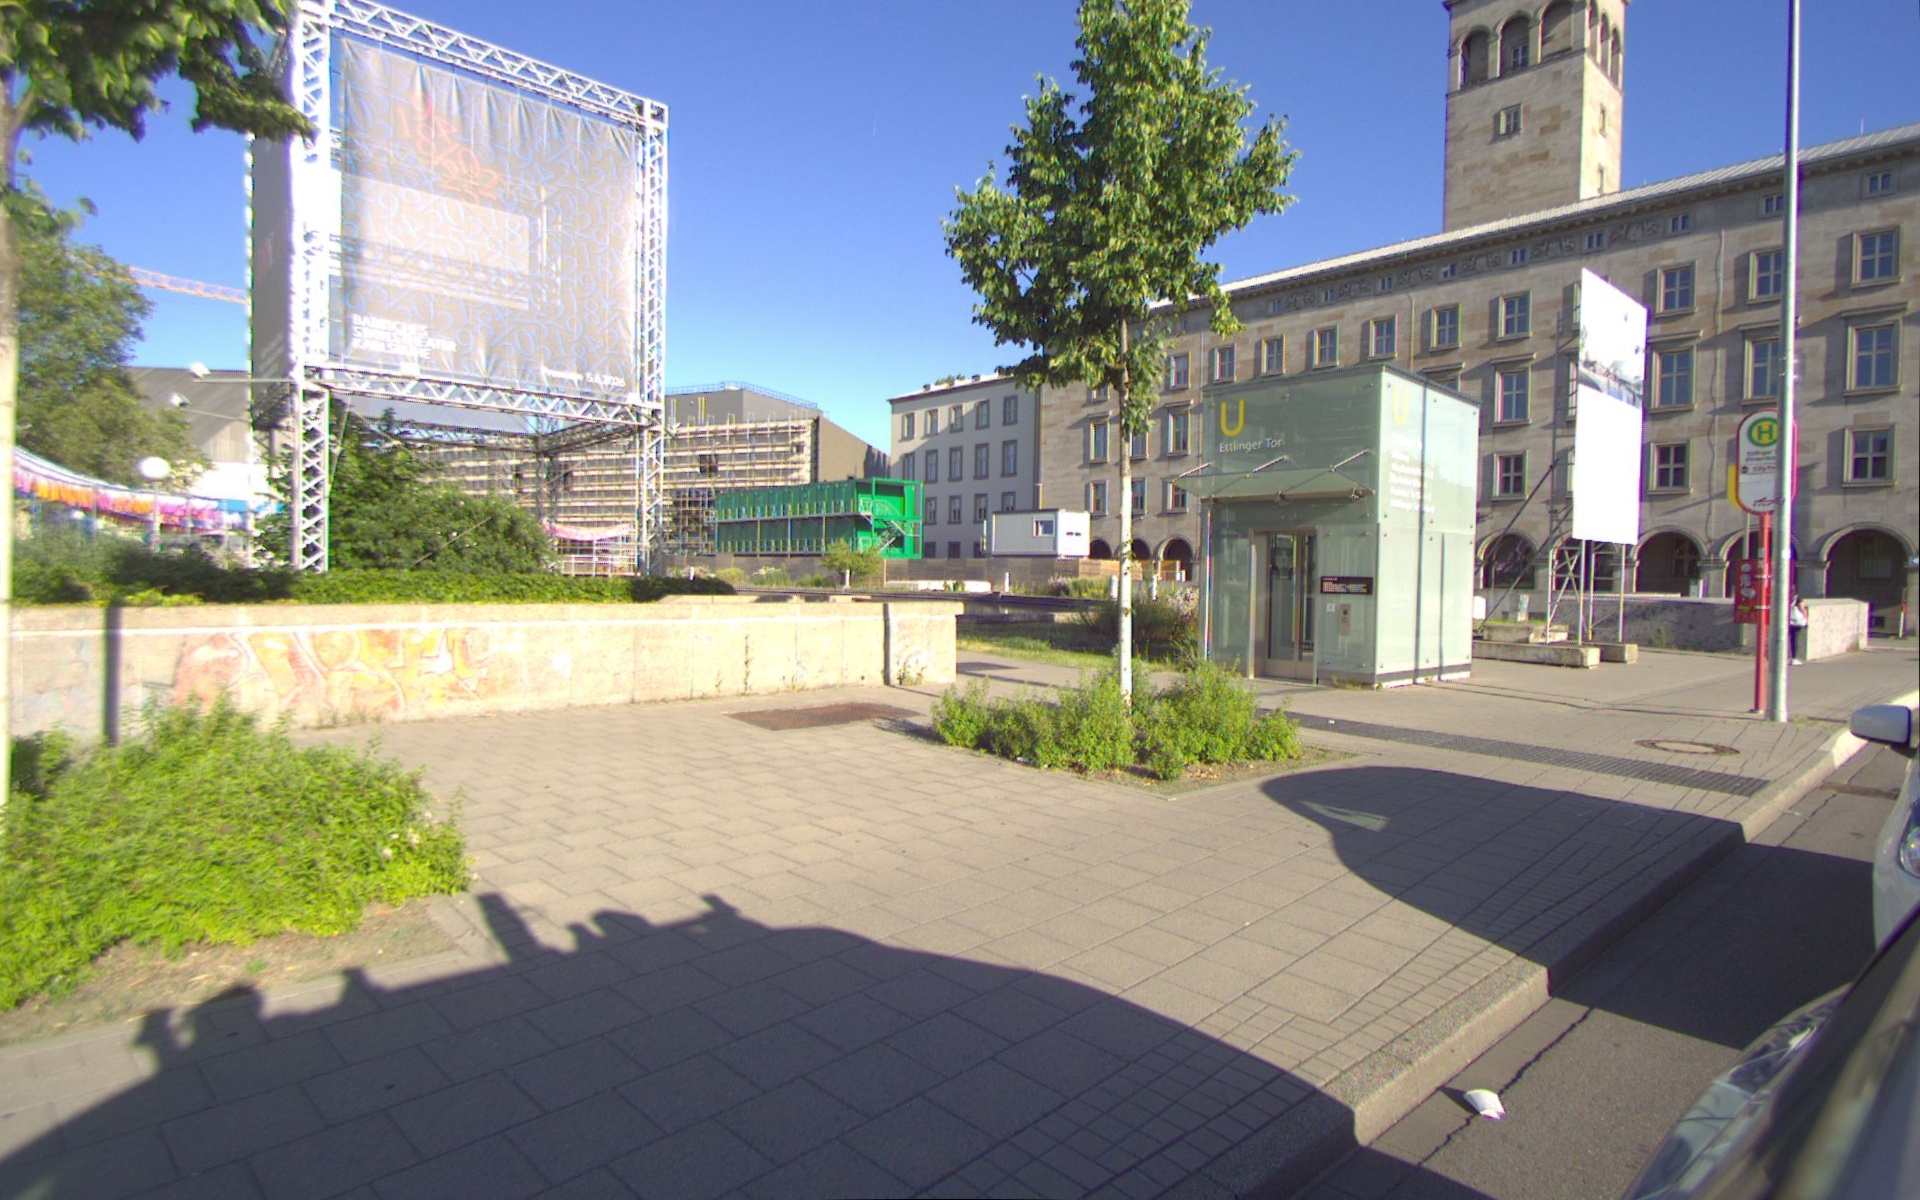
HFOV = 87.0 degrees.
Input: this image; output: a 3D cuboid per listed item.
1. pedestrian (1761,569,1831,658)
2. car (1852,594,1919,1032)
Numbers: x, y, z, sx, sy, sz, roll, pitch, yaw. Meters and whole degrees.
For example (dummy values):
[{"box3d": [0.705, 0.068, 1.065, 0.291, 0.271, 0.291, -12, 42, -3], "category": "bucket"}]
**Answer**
[{"box3d": [17.658, 0.264, 21.384, 1.053, 1.809, 0.941, 0, 1, -41], "category": "pedestrian"}, {"box3d": [5.115, 0.712, 4.066, 3.818, 1.467, 1.678, 0, 0, -39], "category": "car"}]
